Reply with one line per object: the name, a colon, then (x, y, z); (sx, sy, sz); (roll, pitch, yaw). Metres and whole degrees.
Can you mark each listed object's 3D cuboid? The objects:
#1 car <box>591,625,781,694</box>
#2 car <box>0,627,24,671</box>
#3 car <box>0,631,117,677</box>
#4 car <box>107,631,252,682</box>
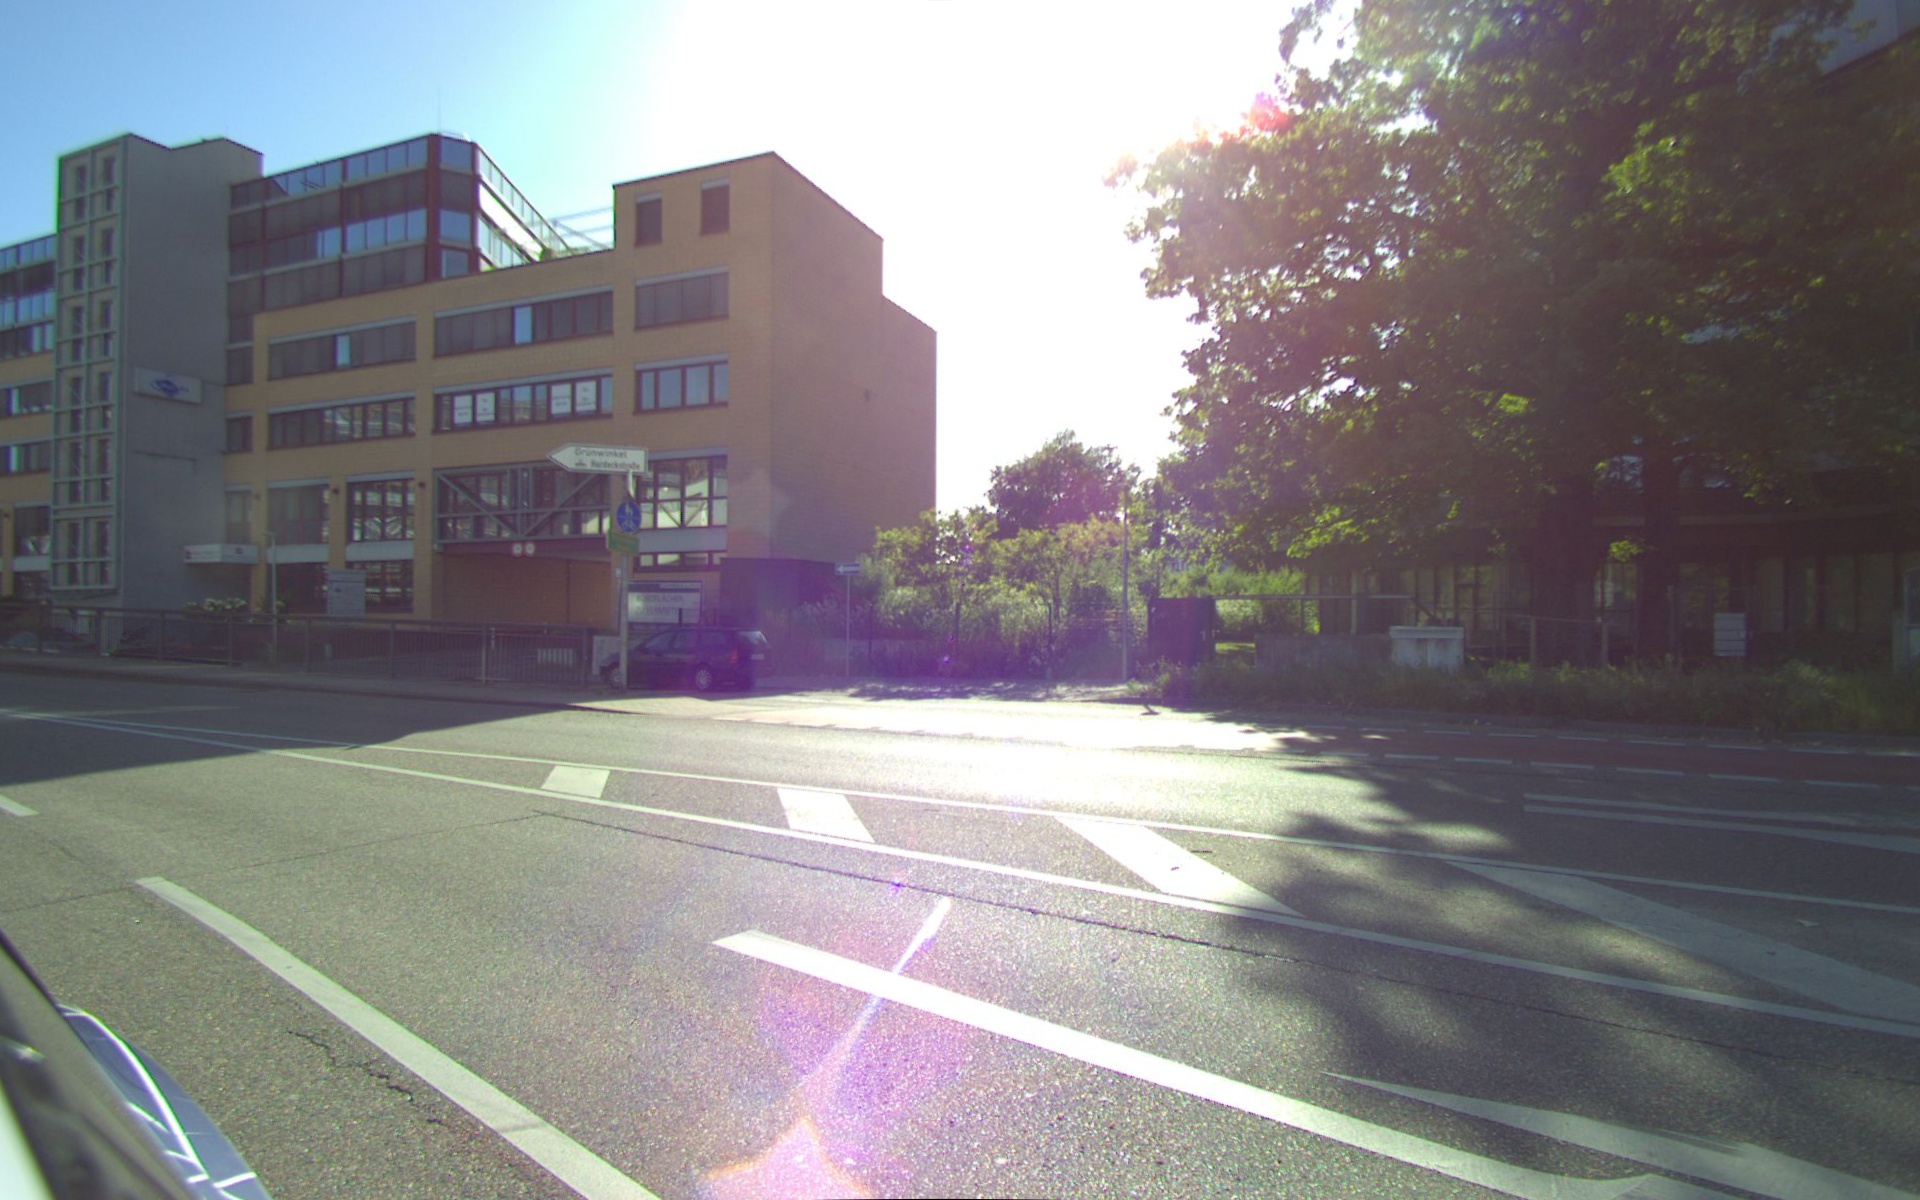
car: (-6.503, 1.423, 23.922); (4.356, 1.520, 1.645); (-2, -4, 27)
car: (-36.760, 1.805, 37.355); (3.976, 1.576, 1.870); (-1, -2, 24)
car: (-31.628, 1.850, 35.177); (4.132, 1.535, 1.867); (-1, -2, 22)
car: (-24.544, 1.754, 31.827); (4.128, 1.535, 1.628); (-1, -2, 19)
